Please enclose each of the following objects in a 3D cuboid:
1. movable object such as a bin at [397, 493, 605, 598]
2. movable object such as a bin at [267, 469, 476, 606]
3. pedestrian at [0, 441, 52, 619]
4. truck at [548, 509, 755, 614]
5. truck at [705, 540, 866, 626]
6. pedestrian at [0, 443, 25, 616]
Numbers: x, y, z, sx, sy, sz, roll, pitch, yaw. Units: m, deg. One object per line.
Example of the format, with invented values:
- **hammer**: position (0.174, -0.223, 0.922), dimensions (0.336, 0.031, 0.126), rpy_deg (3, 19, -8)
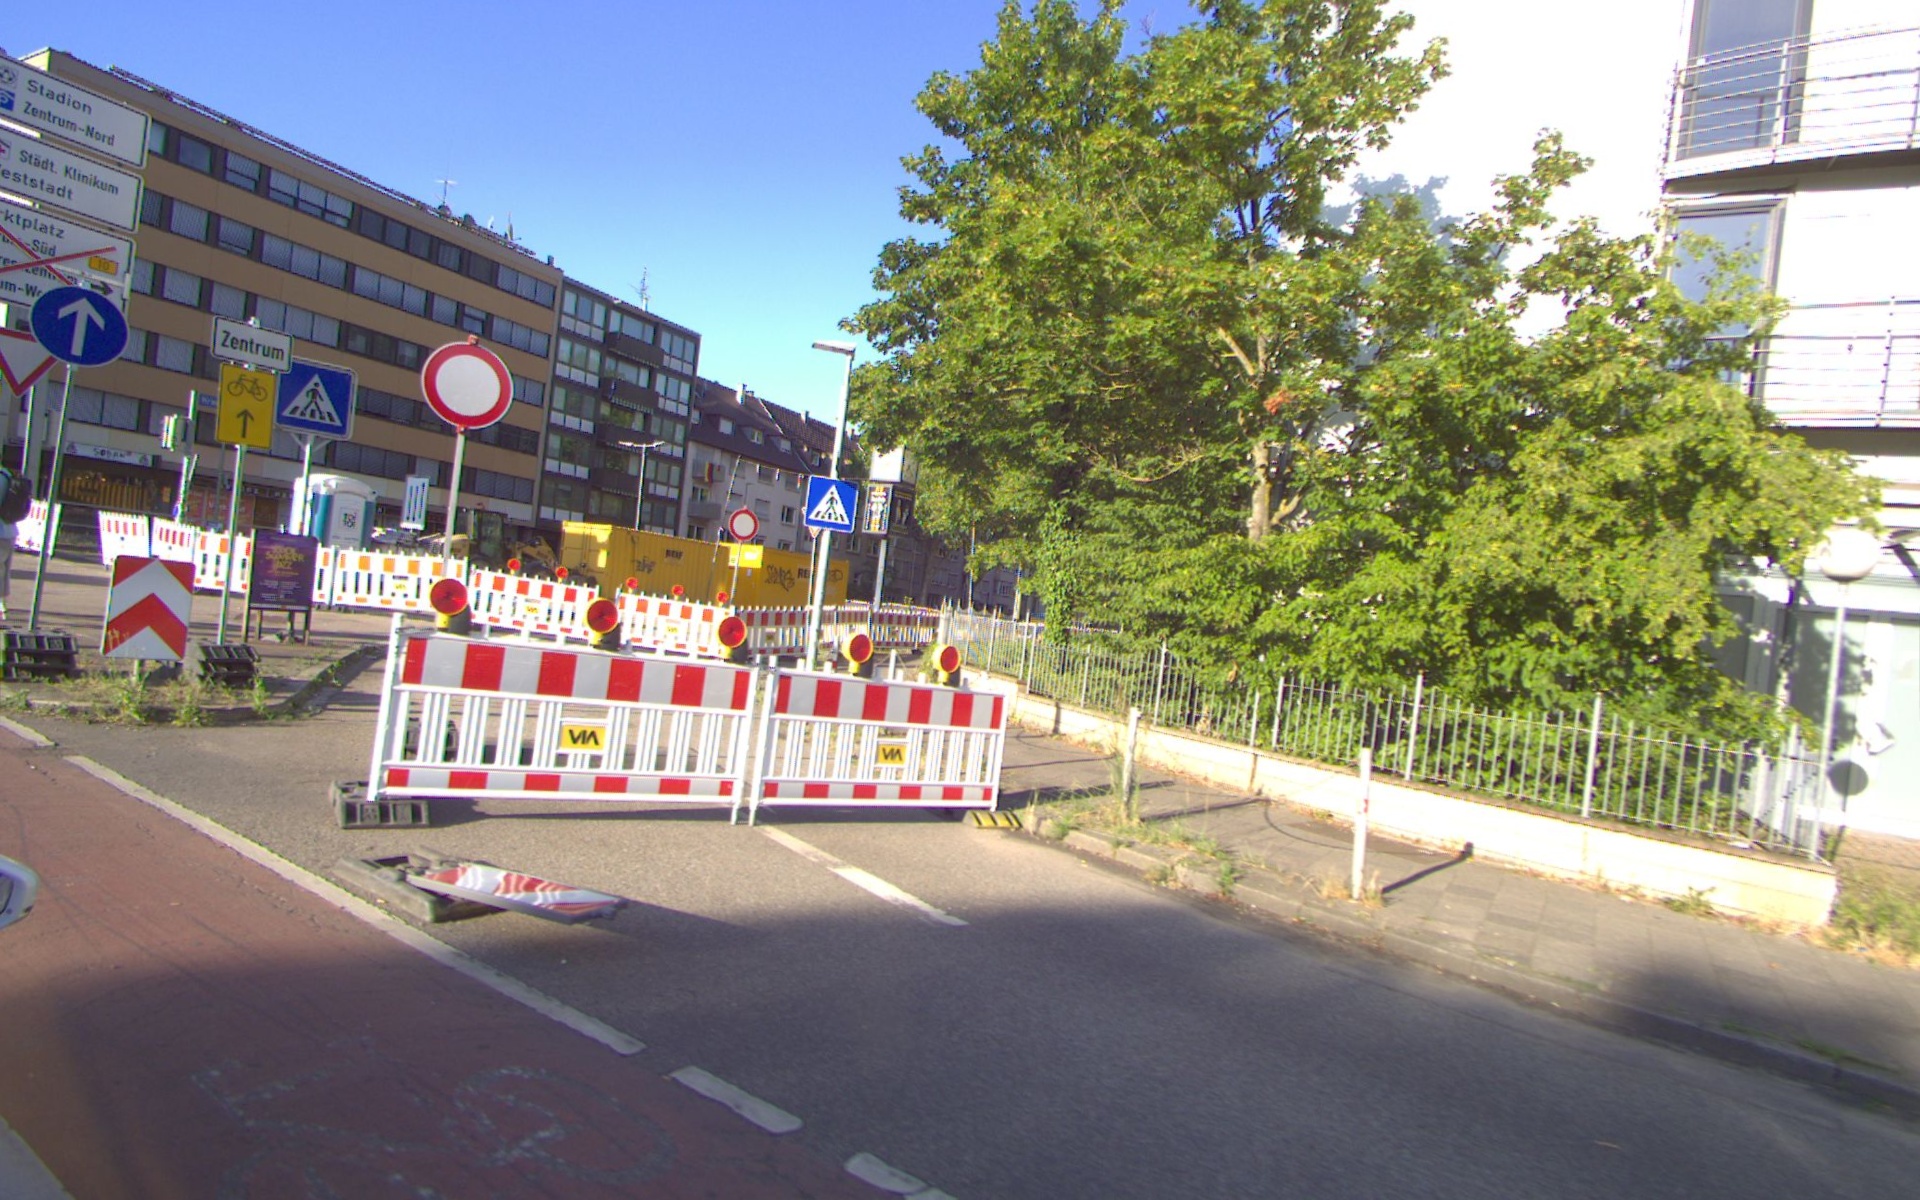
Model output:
- **movable object such as a bin**: position (-14.322, -1.623, 31.756), dimensions (2.505, 2.520, 5.359), rpy_deg (7, 0, 29)
- **movable object such as a bin**: position (-12.372, -1.255, 21.335), dimensions (1.503, 2.412, 3.333), rpy_deg (7, 0, 31)
- **pedestrian**: position (-10.253, -0.766, 10.628), dimensions (0.736, 1.822, 0.709), rpy_deg (6, 1, -33)
- **truck**: position (-11.283, -1.298, 37.644), dimensions (2.759, 2.933, 7.347), rpy_deg (7, -1, 29)
- **truck**: position (-7.516, -0.643, 44.488), dimensions (2.760, 2.933, 7.346), rpy_deg (7, -1, 29)
- **pedestrian**: position (-10.882, -0.805, 11.113), dimensions (0.604, 1.891, 0.521), rpy_deg (7, 1, 29)
